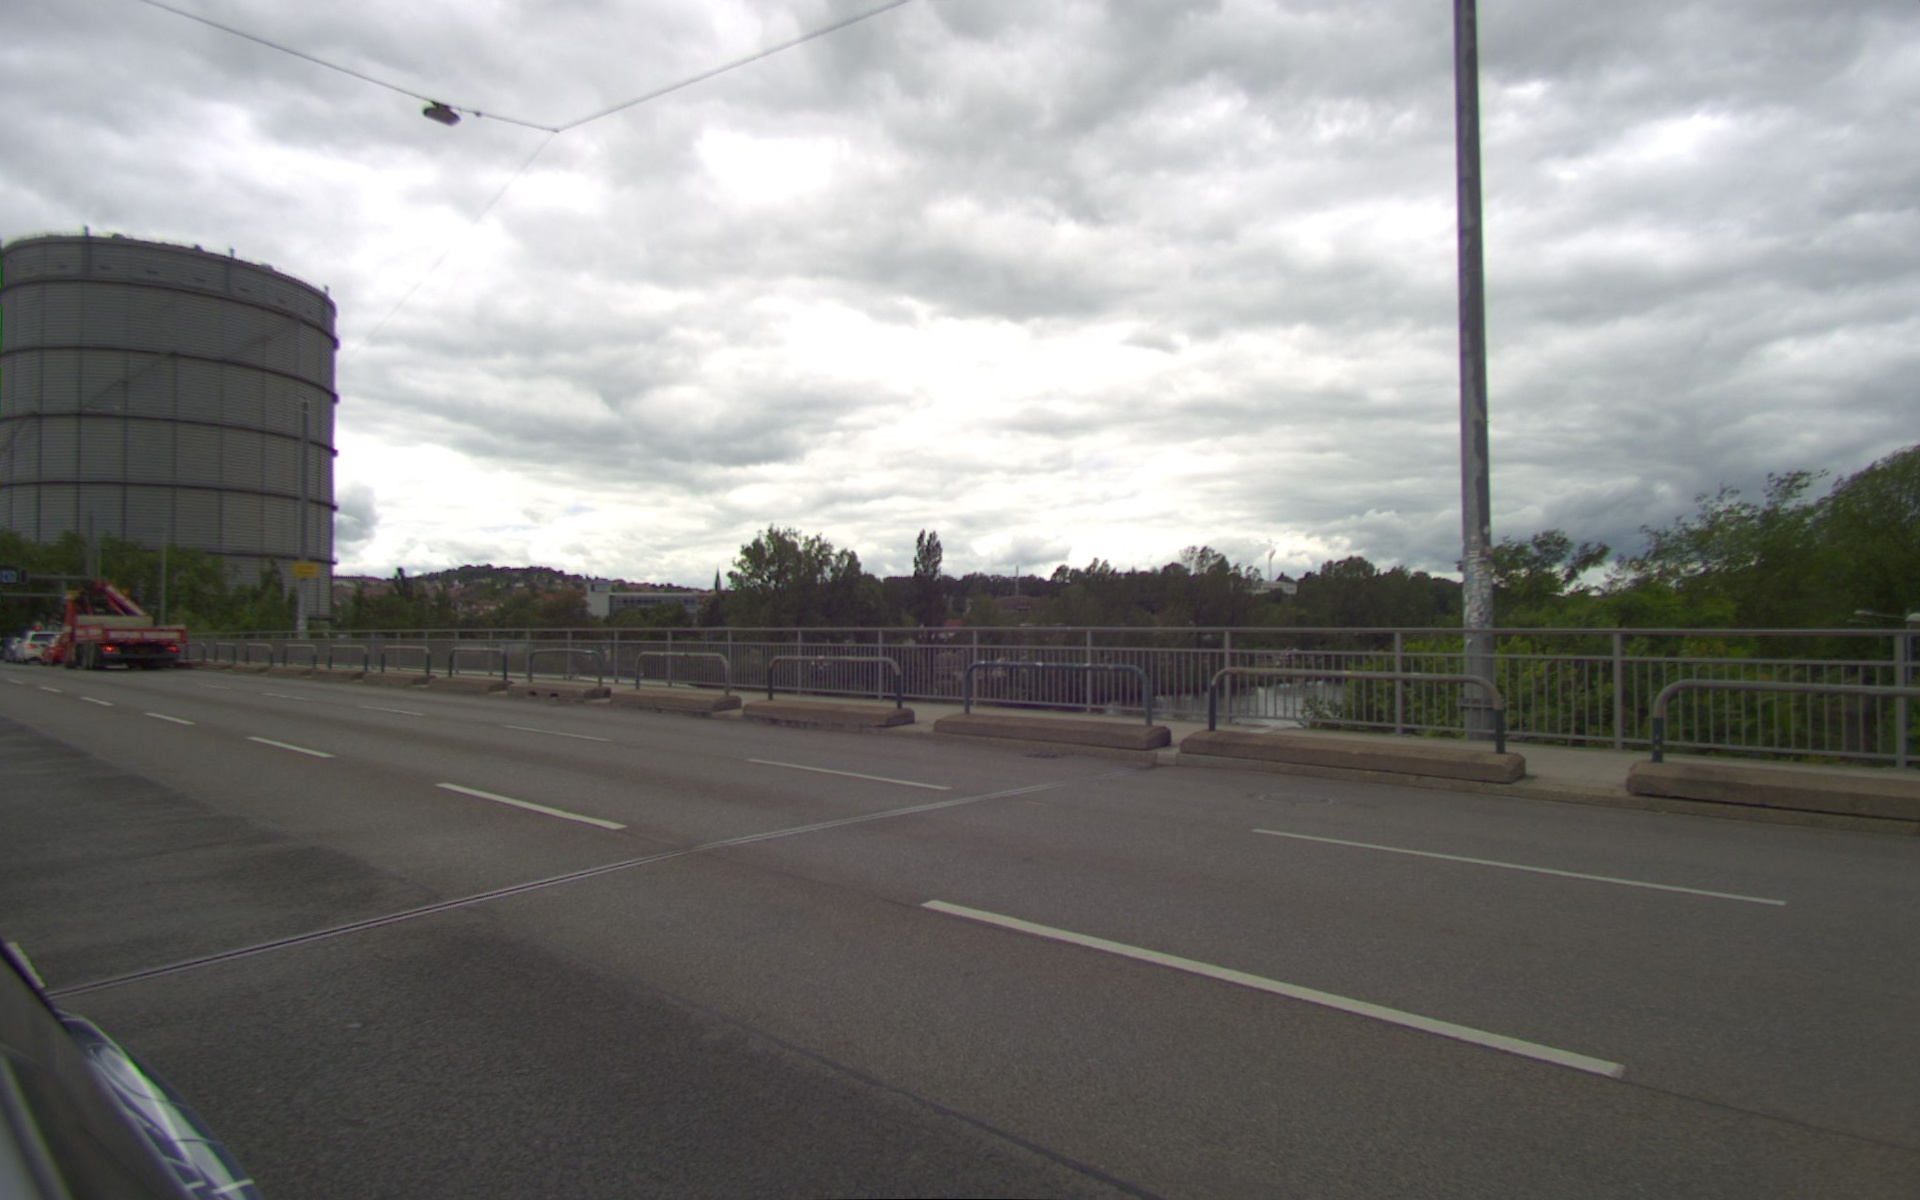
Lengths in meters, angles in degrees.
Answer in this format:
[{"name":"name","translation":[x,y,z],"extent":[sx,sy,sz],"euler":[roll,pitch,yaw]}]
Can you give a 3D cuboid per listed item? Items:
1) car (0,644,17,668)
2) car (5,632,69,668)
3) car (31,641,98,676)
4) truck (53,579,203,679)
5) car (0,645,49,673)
[{"name":"car","translation":[-62.079,3.579,65.038],"extent":[3.871,1.516,1.815],"euler":[-3,-4,43]},{"name":"car","translation":[-48.651,2.632,53.314],"extent":[4.799,1.775,1.860],"euler":[-3,-4,41]},{"name":"car","translation":[-43.029,2.785,48.590],"extent":[4.013,1.615,1.860],"euler":[-3,-4,41]},{"name":"truck","translation":[-33.757,1.246,40.867],"extent":[9.976,3.593,2.974],"euler":[-3,-4,41]},{"name":"car","translation":[-54.500,3.409,58.771],"extent":[4.514,1.516,1.816],"euler":[-3,-4,41]}]
